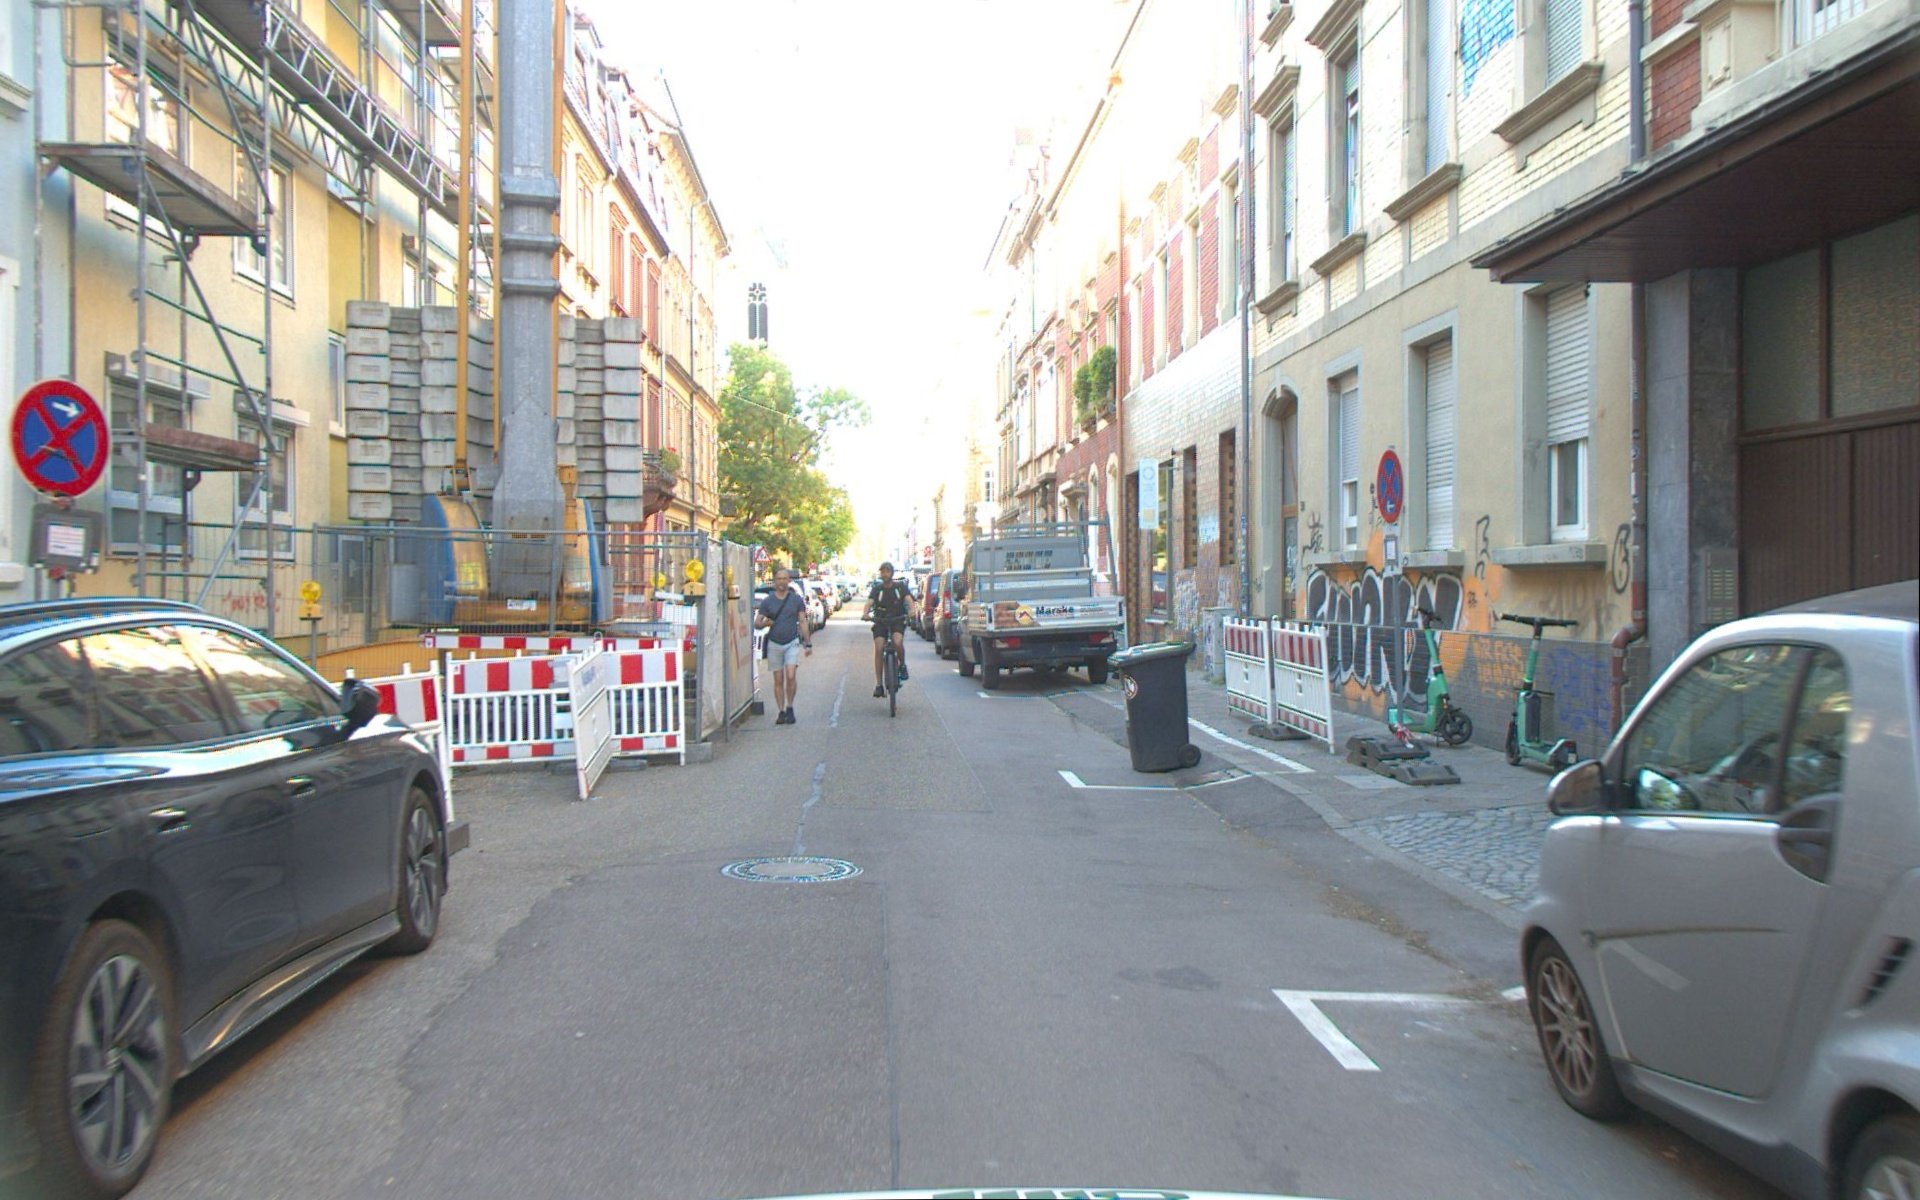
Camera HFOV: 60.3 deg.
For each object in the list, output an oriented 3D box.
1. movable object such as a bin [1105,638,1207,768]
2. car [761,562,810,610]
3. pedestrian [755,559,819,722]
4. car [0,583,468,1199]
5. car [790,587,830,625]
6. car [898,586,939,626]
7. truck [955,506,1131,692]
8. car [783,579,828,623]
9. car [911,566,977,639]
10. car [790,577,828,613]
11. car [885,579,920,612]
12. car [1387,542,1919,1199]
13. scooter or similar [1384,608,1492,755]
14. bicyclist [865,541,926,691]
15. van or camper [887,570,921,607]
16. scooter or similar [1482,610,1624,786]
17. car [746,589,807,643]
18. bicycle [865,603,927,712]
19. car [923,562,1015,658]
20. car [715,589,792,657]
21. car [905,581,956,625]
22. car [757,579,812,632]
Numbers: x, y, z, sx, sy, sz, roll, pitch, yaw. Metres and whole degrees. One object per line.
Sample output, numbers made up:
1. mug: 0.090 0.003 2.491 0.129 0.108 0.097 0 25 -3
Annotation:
1. movable object such as a bin: 1.696 0.884 14.372 0.779 1.074 0.659 0 0 -3
2. car: -6.058 -0.467 57.686 1.642 1.598 3.865 -1 0 -5
3. pedestrian: -1.920 0.438 18.412 0.644 1.763 0.719 -1 0 -3
4. car: -2.991 0.713 5.352 1.641 1.503 4.605 -1 0 -3
5. car: -7.736 0.291 85.529 1.954 1.881 3.997 -1 1 -4
6. car: -2.211 0.301 87.403 1.954 2.049 3.997 -1 0 -4
7. truck: 1.202 -0.043 26.615 2.147 2.652 5.229 -1 0 -4
8. car: -5.848 0.043 62.564 1.642 1.598 3.865 -1 0 -5
9. car: -0.503 0.066 49.532 1.642 2.066 3.865 -1 0 -5
10. car: -8.249 -0.301 90.692 1.954 1.881 3.996 -1 0 -4
11. car: -3.508 -0.285 100.375 1.954 1.881 3.996 -1 0 -4
12. car: 2.571 0.660 4.663 1.565 1.587 3.812 -4 1 -2
13. scooter or similar: 4.195 0.683 14.600 0.409 1.199 1.494 -2 0 -3
14. bicyclist: -0.788 0.184 20.157 0.716 1.792 0.835 0 1 -3
15. van or camper: -3.946 -0.802 115.964 1.956 2.552 4.195 -1 0 -7
16. scooter or similar: 4.419 0.694 12.411 0.409 1.199 1.494 -2 0 -3
17. car: -5.199 0.435 47.219 1.642 1.470 3.865 -1 0 -5
18. bicycle: -0.796 0.668 20.186 0.710 1.207 2.041 1 1 -3
19. car: 0.156 0.200 37.061 1.642 1.997 4.104 -1 0 -5
20. car: -4.744 0.507 38.420 1.642 1.470 3.865 -1 0 -5
21. car: -1.160 0.117 62.999 1.642 1.598 3.865 -1 0 -5
22. car: -5.482 0.154 52.010 1.642 1.598 3.865 -1 0 -5
